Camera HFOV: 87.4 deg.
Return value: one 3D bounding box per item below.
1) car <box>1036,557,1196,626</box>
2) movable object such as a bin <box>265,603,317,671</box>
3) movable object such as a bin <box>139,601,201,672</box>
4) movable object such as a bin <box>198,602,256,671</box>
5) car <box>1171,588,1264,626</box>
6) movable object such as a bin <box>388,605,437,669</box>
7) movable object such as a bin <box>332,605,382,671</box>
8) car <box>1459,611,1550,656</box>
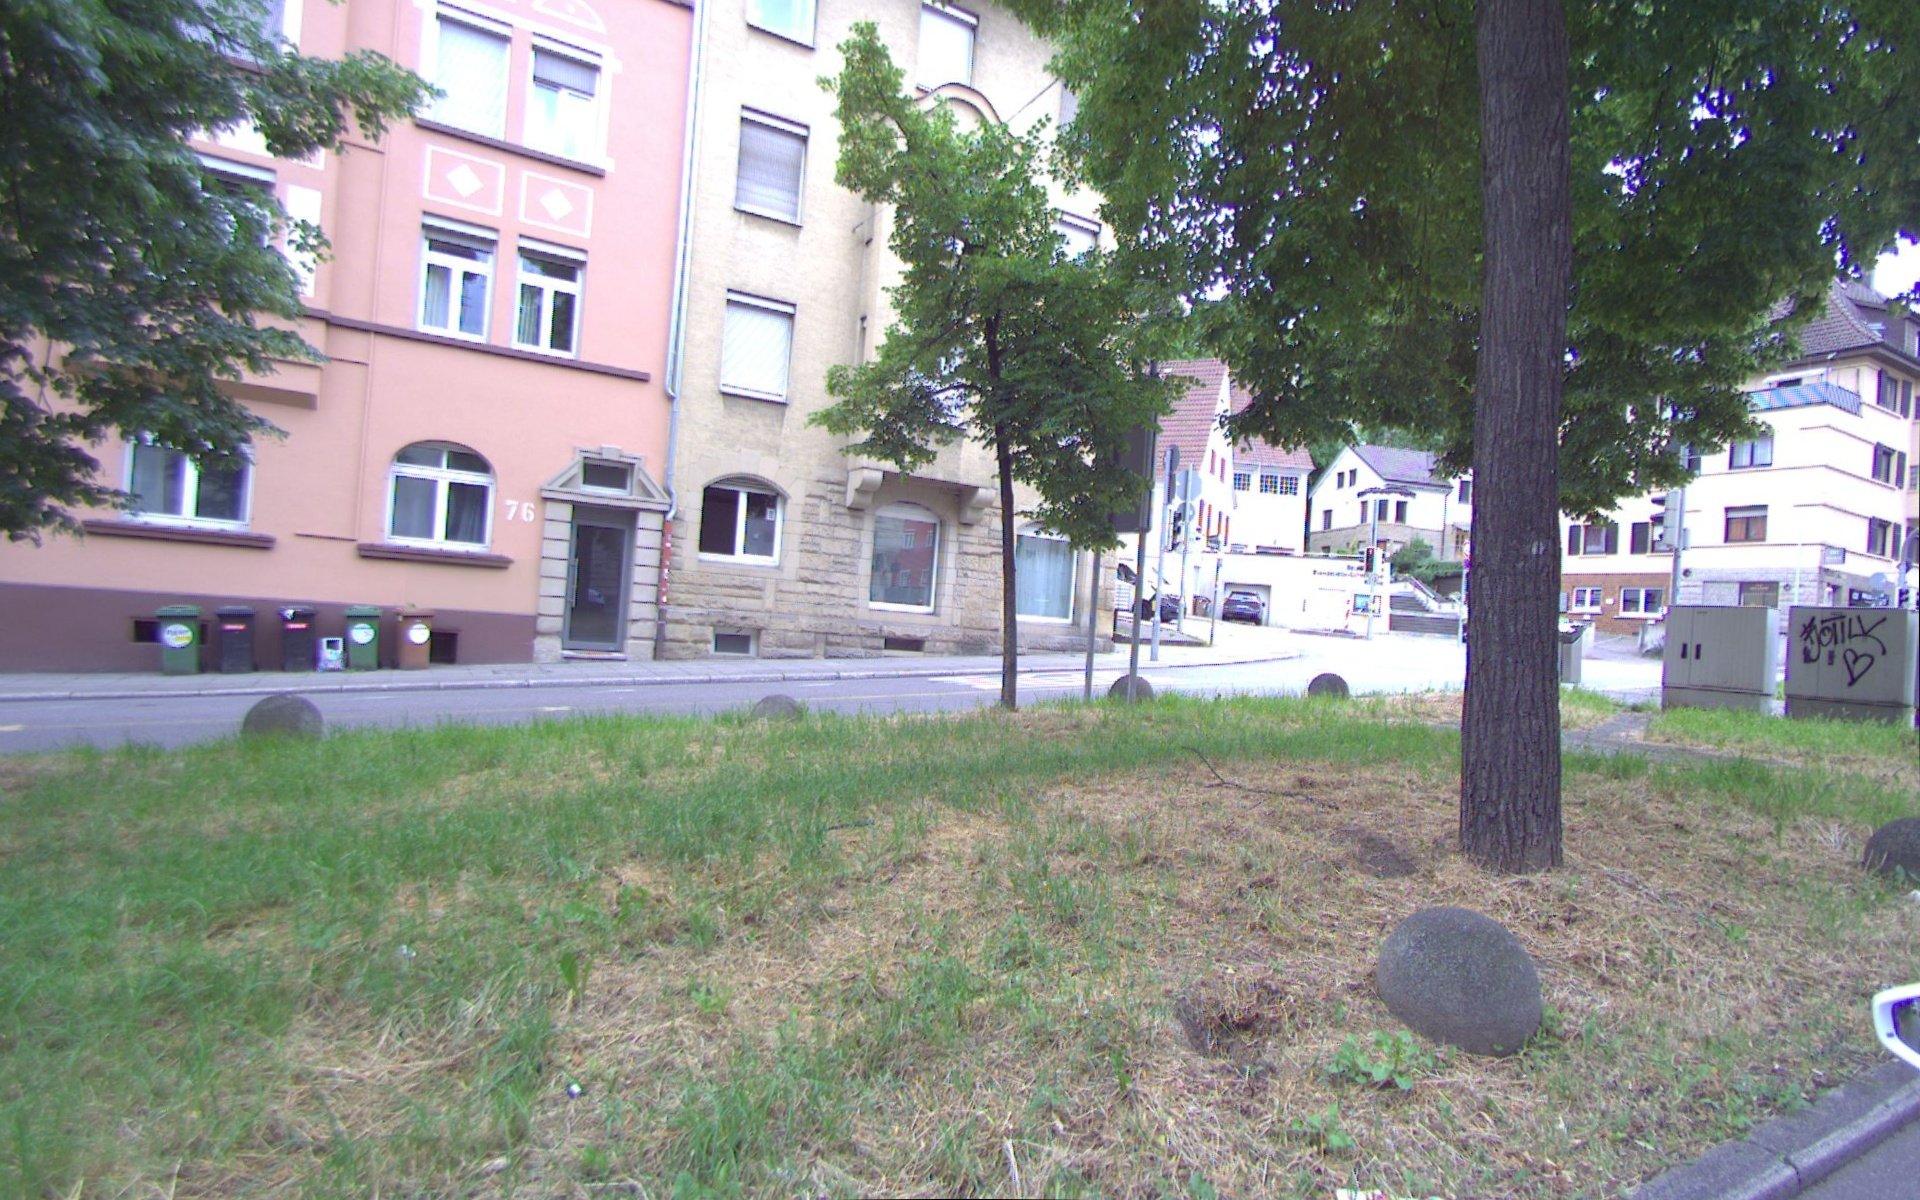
[{"bbox_3d":[5.337,-0.327,34.802,5.103,2.092,1.987,4,2,38],"label":"car"},{"bbox_3d":[-9.535,0.525,14.329,0.595,0.916,0.605,1,2,-33],"label":"movable object such as a bin"},{"bbox_3d":[-10.734,0.483,13.665,0.595,0.916,0.605,1,2,-33],"label":"movable object such as a bin"},{"bbox_3d":[-10.190,0.500,13.978,0.595,0.916,0.605,1,2,-33],"label":"movable object such as a bin"},{"bbox_3d":[11.564,0.314,45.073,3.920,1.530,1.800,2,1,18],"label":"car"},{"bbox_3d":[-8.256,0.555,15.148,0.595,0.916,0.605,1,2,-33],"label":"movable object such as a bin"},{"bbox_3d":[-8.856,0.547,14.747,0.595,0.916,0.605,1,2,-33],"label":"movable object such as a bin"},{"bbox_3d":[22.749,1.368,42.134,1.844,1.687,4.002,3,-1,4],"label":"car"}]
